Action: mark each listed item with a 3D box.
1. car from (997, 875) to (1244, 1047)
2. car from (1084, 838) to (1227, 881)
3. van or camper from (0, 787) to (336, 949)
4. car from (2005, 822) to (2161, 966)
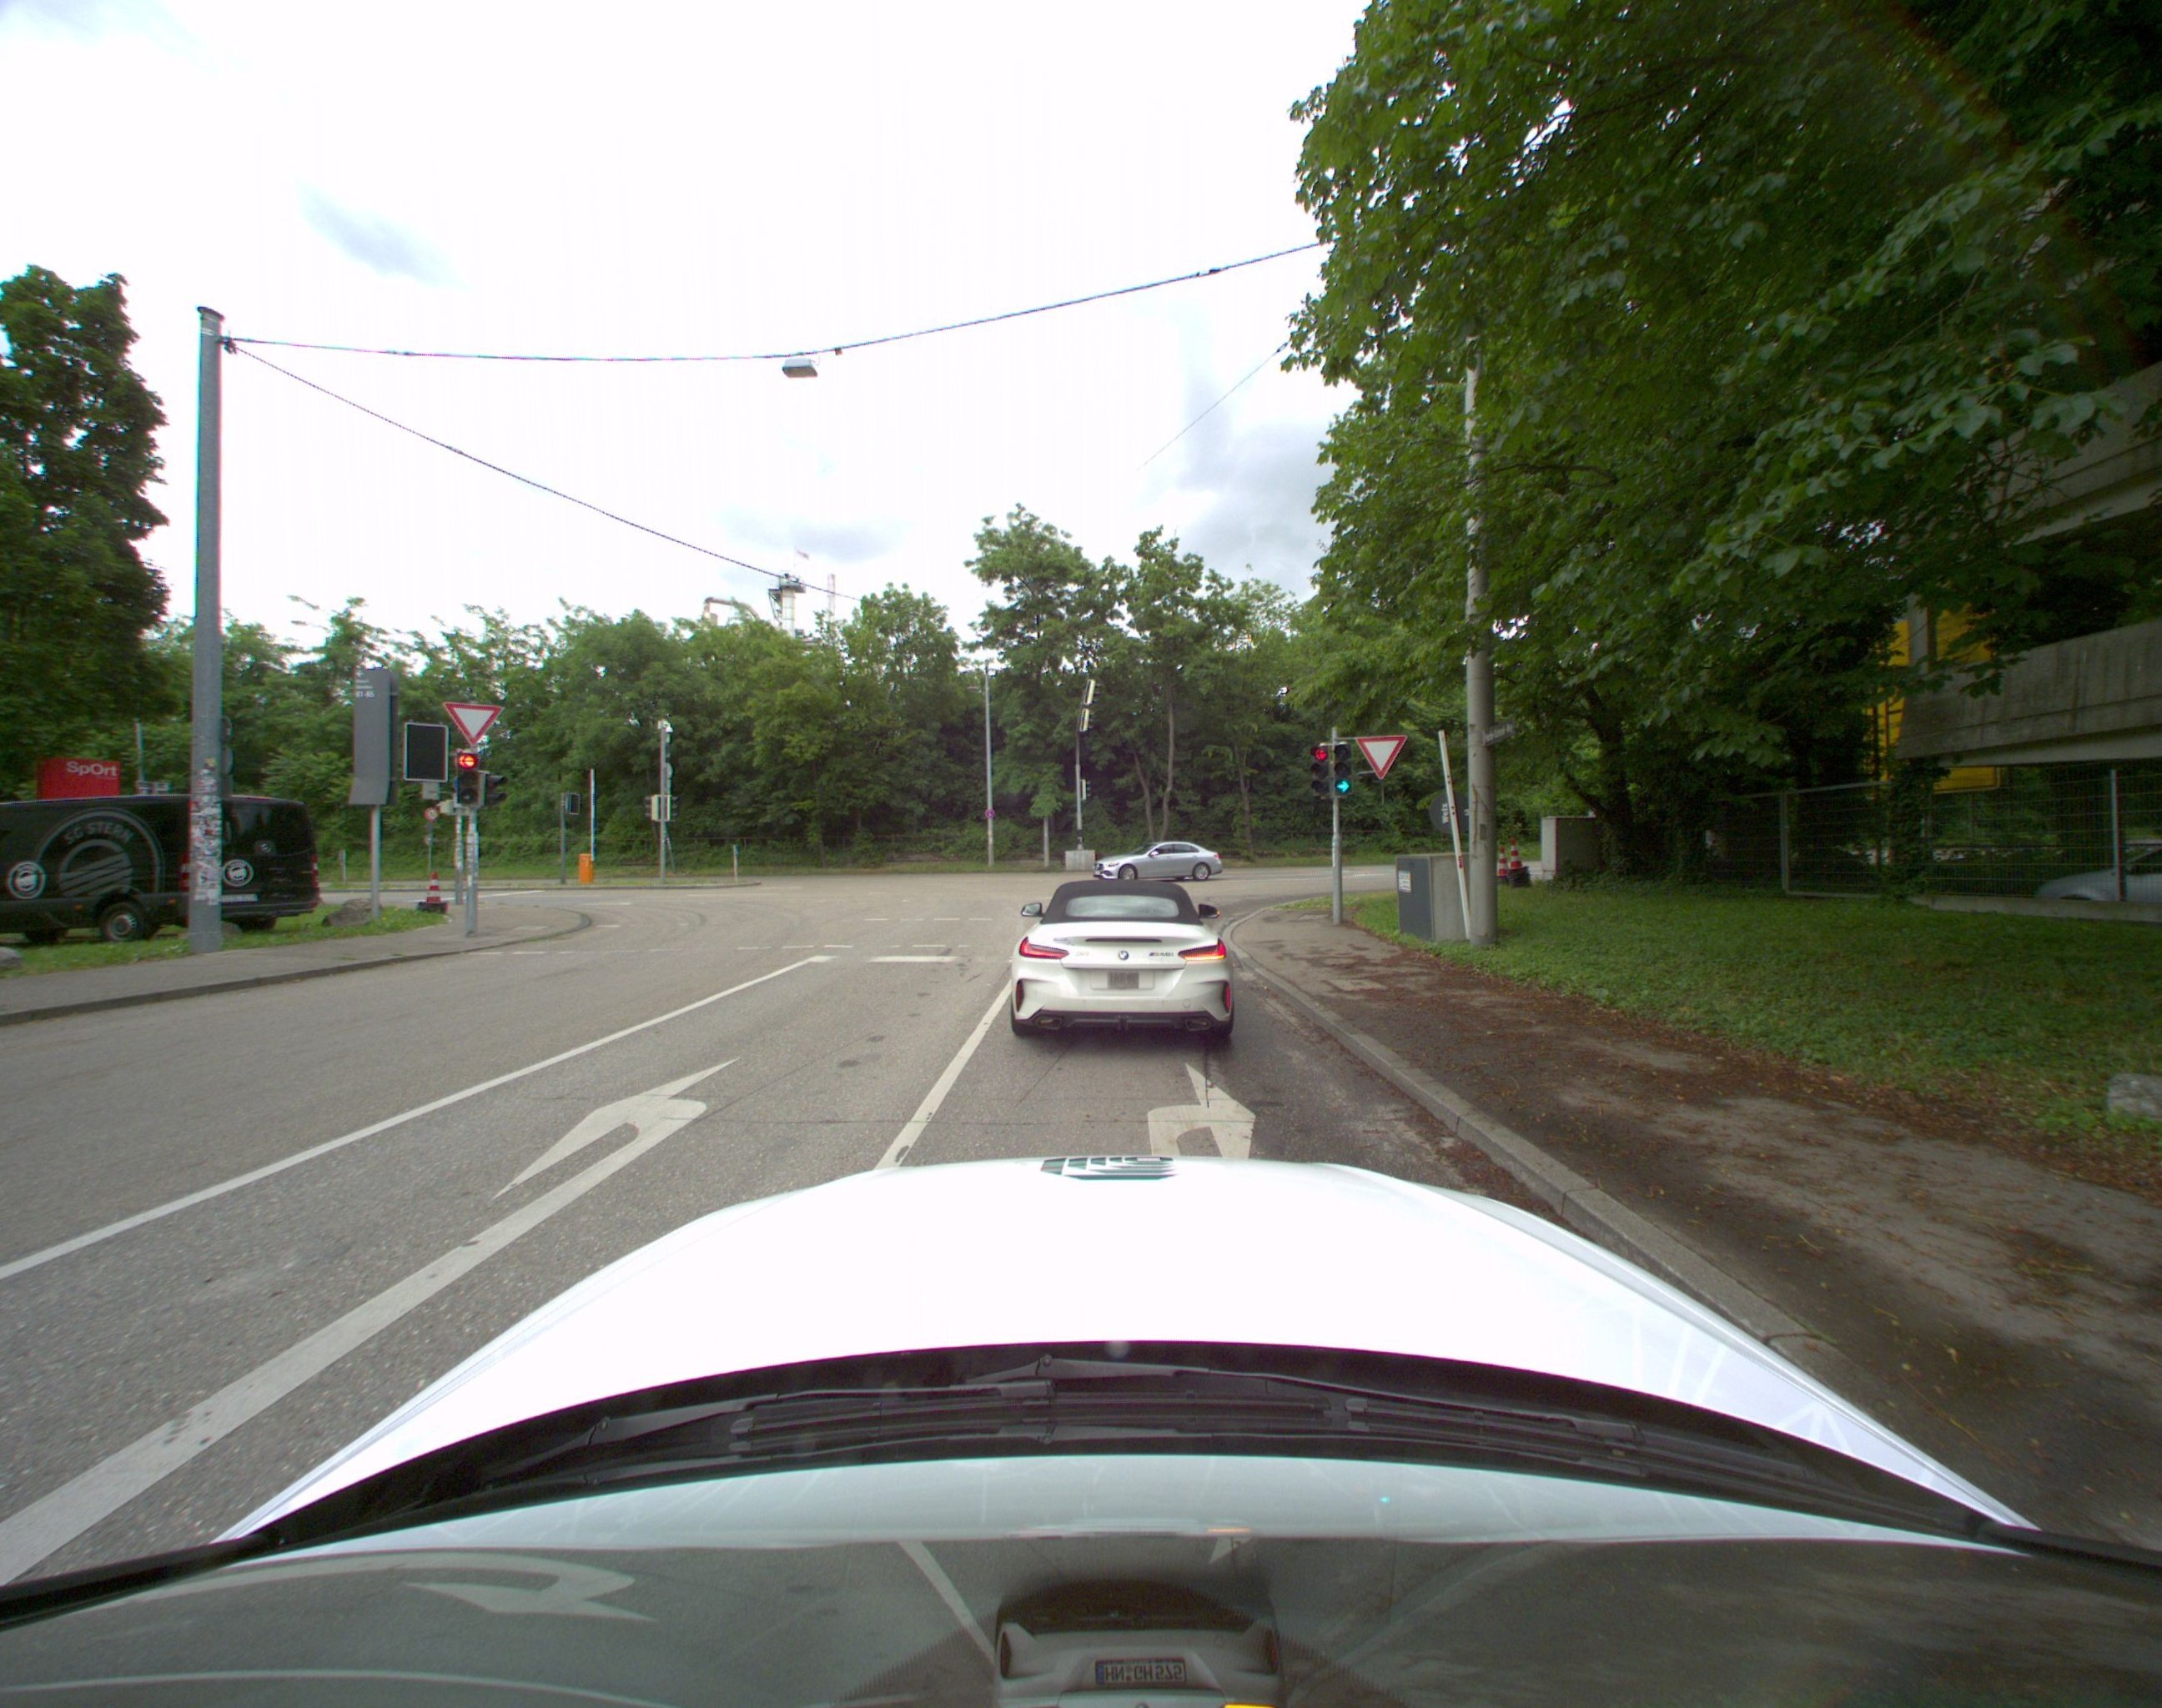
[{"bbox_3d":[0.294,0.853,8.017,1.822,1.257,3.998,0,-2,0],"label":"car"},{"bbox_3d":[2.667,0.158,29.154,4.766,1.333,1.822,-1,2,-19],"label":"car"},{"bbox_3d":[-15.909,0.292,13.387,5.513,2.314,2.063,-3,-2,2],"label":"van or camper"},{"bbox_3d":[13.595,0.469,9.491,1.475,1.708,3.720,0,-2,2],"label":"car"}]
